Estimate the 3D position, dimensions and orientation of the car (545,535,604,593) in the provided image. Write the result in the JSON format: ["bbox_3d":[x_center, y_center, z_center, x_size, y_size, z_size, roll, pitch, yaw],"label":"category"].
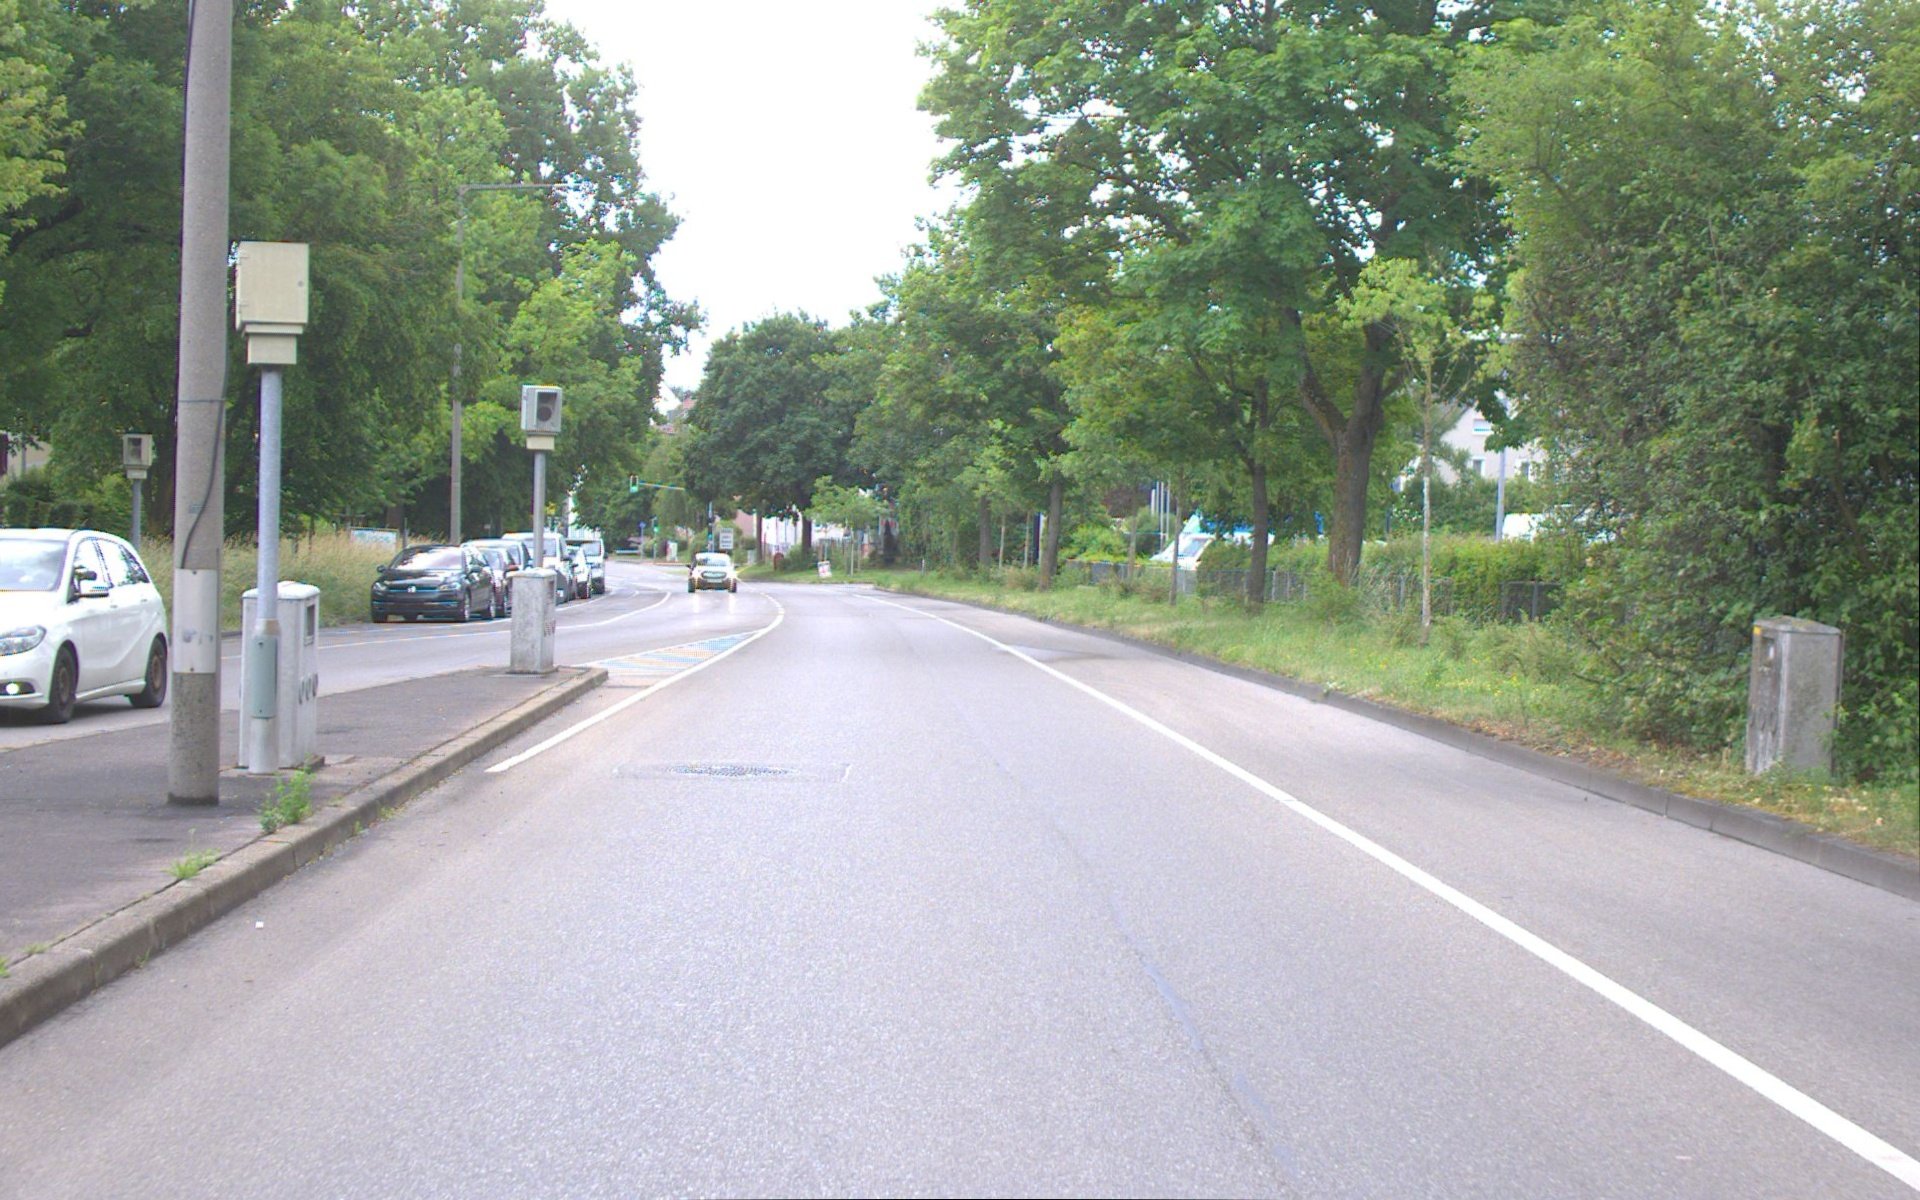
[{"bbox_3d":[-13.309,-1.243,118.914,1.866,1.957,5.128,1,0,-5],"label":"car"}]

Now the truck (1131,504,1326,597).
[{"bbox_3d":[10.358,-1.891,132.339,7.162,3.465,2.619,0,1,-28],"label":"truck"}]

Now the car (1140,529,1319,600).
[{"bbox_3d":[9.760,-1.286,124.342,6.009,2.359,2.363,2,0,-27],"label":"car"}]

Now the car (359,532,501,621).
[{"bbox_3d":[-9.911,-0.443,64.634,1.875,1.565,4.651,1,1,1],"label":"car"}]

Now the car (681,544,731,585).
[{"bbox_3d":[-9.208,-1.297,124.881,1.637,1.462,4.000,0,0,-2],"label":"car"}]

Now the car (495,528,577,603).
[{"bbox_3d":[-11.449,-0.955,93.177,1.768,1.924,5.156,2,1,-3],"label":"car"}]

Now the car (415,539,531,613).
[{"bbox_3d":[-9.904,-0.517,70.177,1.768,1.442,4.150,1,1,0],"label":"car"}]

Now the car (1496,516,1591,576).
[{"bbox_3d":[27.630,-2.591,162.588,2.260,2.667,5.439,2,3,35],"label":"car"}]

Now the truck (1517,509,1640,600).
[{"bbox_3d":[24.772,-1.786,138.204,2.853,3.447,9.542,2,0,-2],"label":"truck"}]

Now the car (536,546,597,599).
[{"bbox_3d":[-11.926,-0.845,104.320,1.673,1.559,4.282,0,0,-5],"label":"car"}]

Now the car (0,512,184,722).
[{"bbox_3d":[-7.782,0.106,27.956,1.875,1.565,4.339,2,0,1],"label":"car"}]
